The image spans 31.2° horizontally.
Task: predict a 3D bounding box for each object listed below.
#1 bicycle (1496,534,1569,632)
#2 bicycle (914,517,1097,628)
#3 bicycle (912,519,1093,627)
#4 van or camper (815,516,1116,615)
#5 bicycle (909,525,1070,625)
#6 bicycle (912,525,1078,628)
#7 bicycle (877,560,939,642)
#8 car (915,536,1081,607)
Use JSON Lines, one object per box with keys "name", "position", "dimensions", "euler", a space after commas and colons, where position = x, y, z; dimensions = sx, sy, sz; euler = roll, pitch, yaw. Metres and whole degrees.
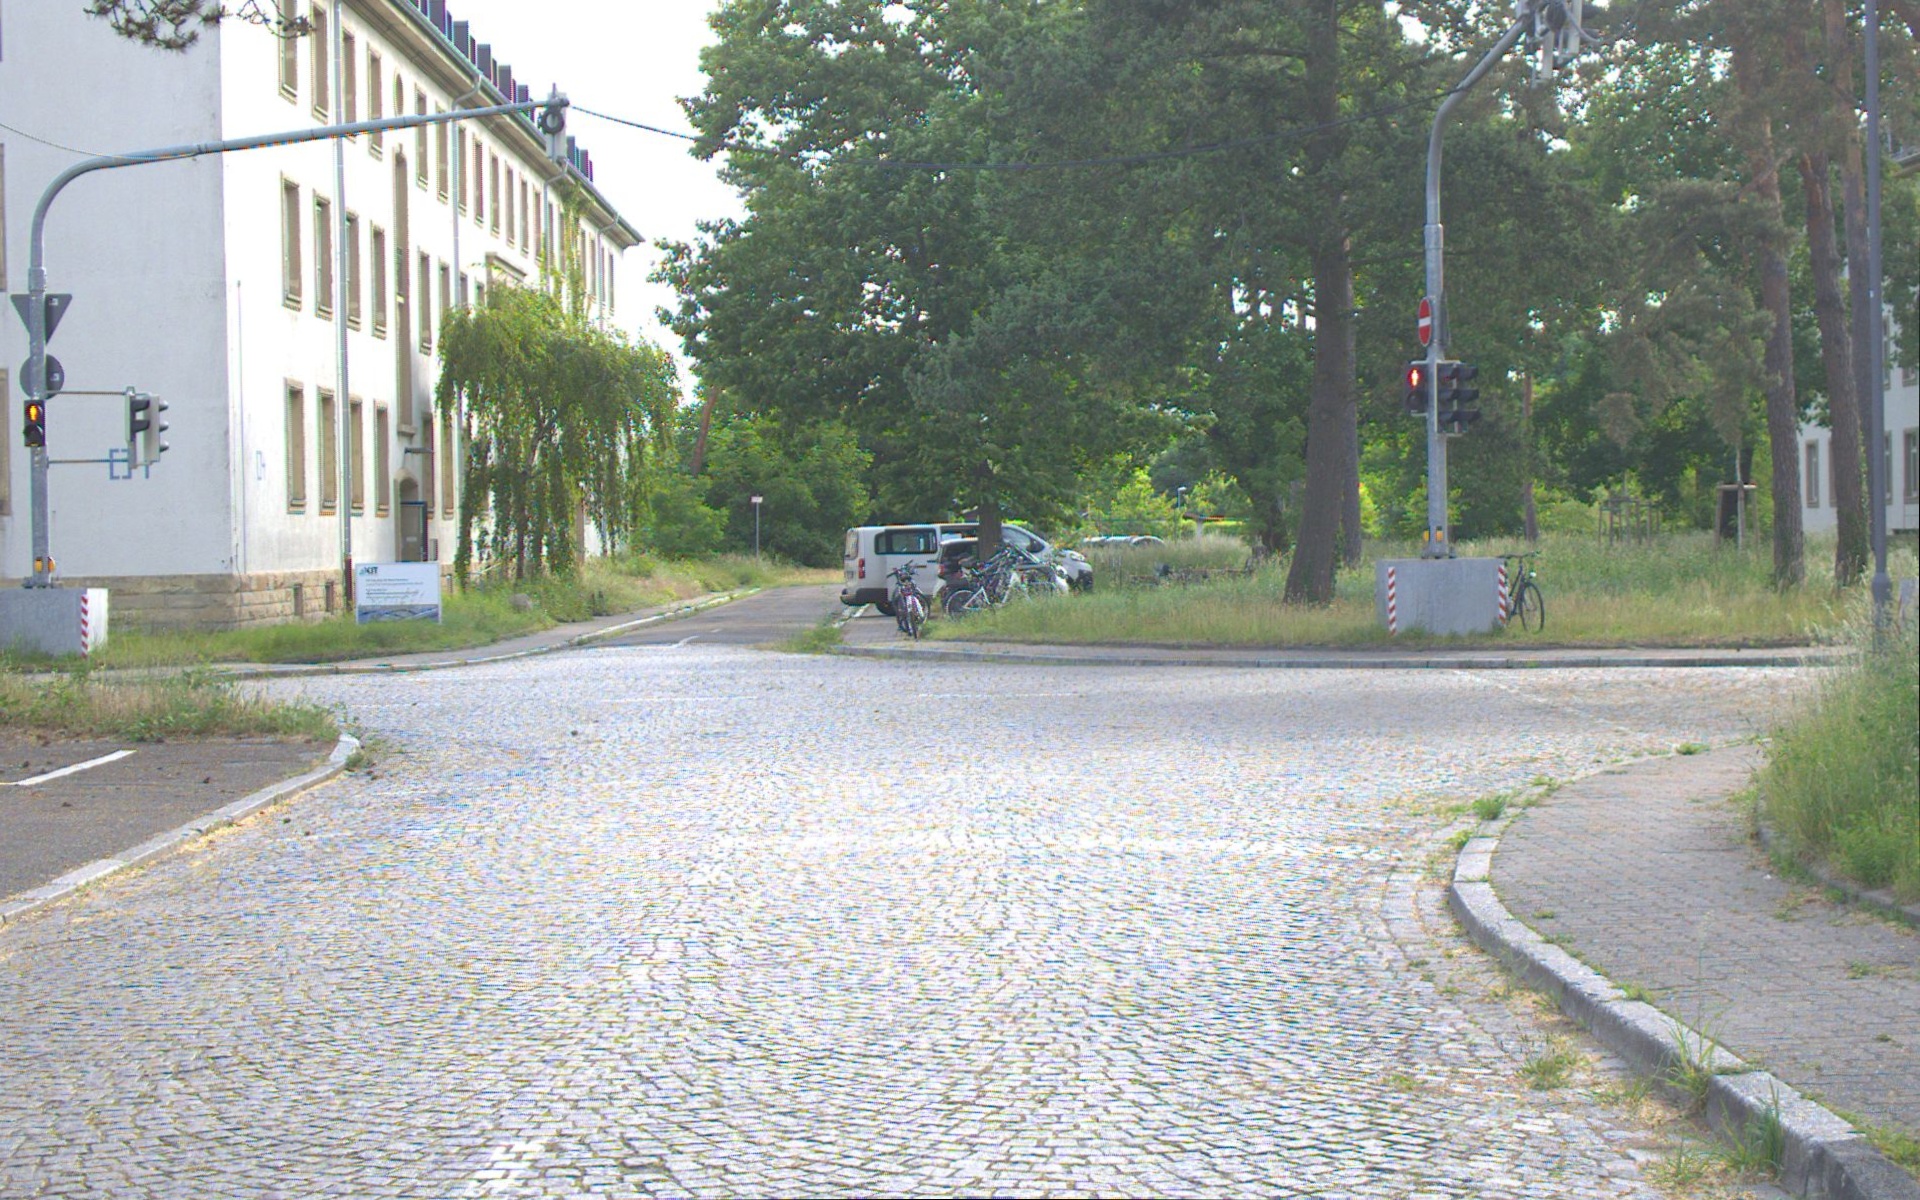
{"name": "bicycle", "position": [7.111, -0.224, 42.825], "dimensions": [0.724, 1.165, 2.736], "euler": [1, 1, 6]}
{"name": "bicycle", "position": [0.713, -0.446, 54.654], "dimensions": [2.775, 1.688, 1.120], "euler": [-1, 1, -5]}
{"name": "bicycle", "position": [0.683, -0.441, 55.849], "dimensions": [2.775, 1.688, 1.120], "euler": [-1, 1, -7]}
{"name": "van or camper", "position": [0.104, -0.753, 72.626], "dimensions": [6.030, 1.942, 2.001], "euler": [-1, 1, -13]}
{"name": "bicycle", "position": [0.525, -0.448, 60.754], "dimensions": [2.775, 1.688, 1.120], "euler": [1, 1, 1]}
{"name": "bicycle", "position": [0.615, -0.410, 59.416], "dimensions": [2.776, 1.688, 1.120], "euler": [1, 1, 4]}
{"name": "bicycle", "position": [-0.757, -0.002, 50.387], "dimensions": [0.725, 1.104, 2.462], "euler": [-5, 1, 1]}
{"name": "car", "position": [0.749, -0.579, 69.048], "dimensions": [3.137, 1.349, 1.620], "euler": [-1, 1, -6]}
